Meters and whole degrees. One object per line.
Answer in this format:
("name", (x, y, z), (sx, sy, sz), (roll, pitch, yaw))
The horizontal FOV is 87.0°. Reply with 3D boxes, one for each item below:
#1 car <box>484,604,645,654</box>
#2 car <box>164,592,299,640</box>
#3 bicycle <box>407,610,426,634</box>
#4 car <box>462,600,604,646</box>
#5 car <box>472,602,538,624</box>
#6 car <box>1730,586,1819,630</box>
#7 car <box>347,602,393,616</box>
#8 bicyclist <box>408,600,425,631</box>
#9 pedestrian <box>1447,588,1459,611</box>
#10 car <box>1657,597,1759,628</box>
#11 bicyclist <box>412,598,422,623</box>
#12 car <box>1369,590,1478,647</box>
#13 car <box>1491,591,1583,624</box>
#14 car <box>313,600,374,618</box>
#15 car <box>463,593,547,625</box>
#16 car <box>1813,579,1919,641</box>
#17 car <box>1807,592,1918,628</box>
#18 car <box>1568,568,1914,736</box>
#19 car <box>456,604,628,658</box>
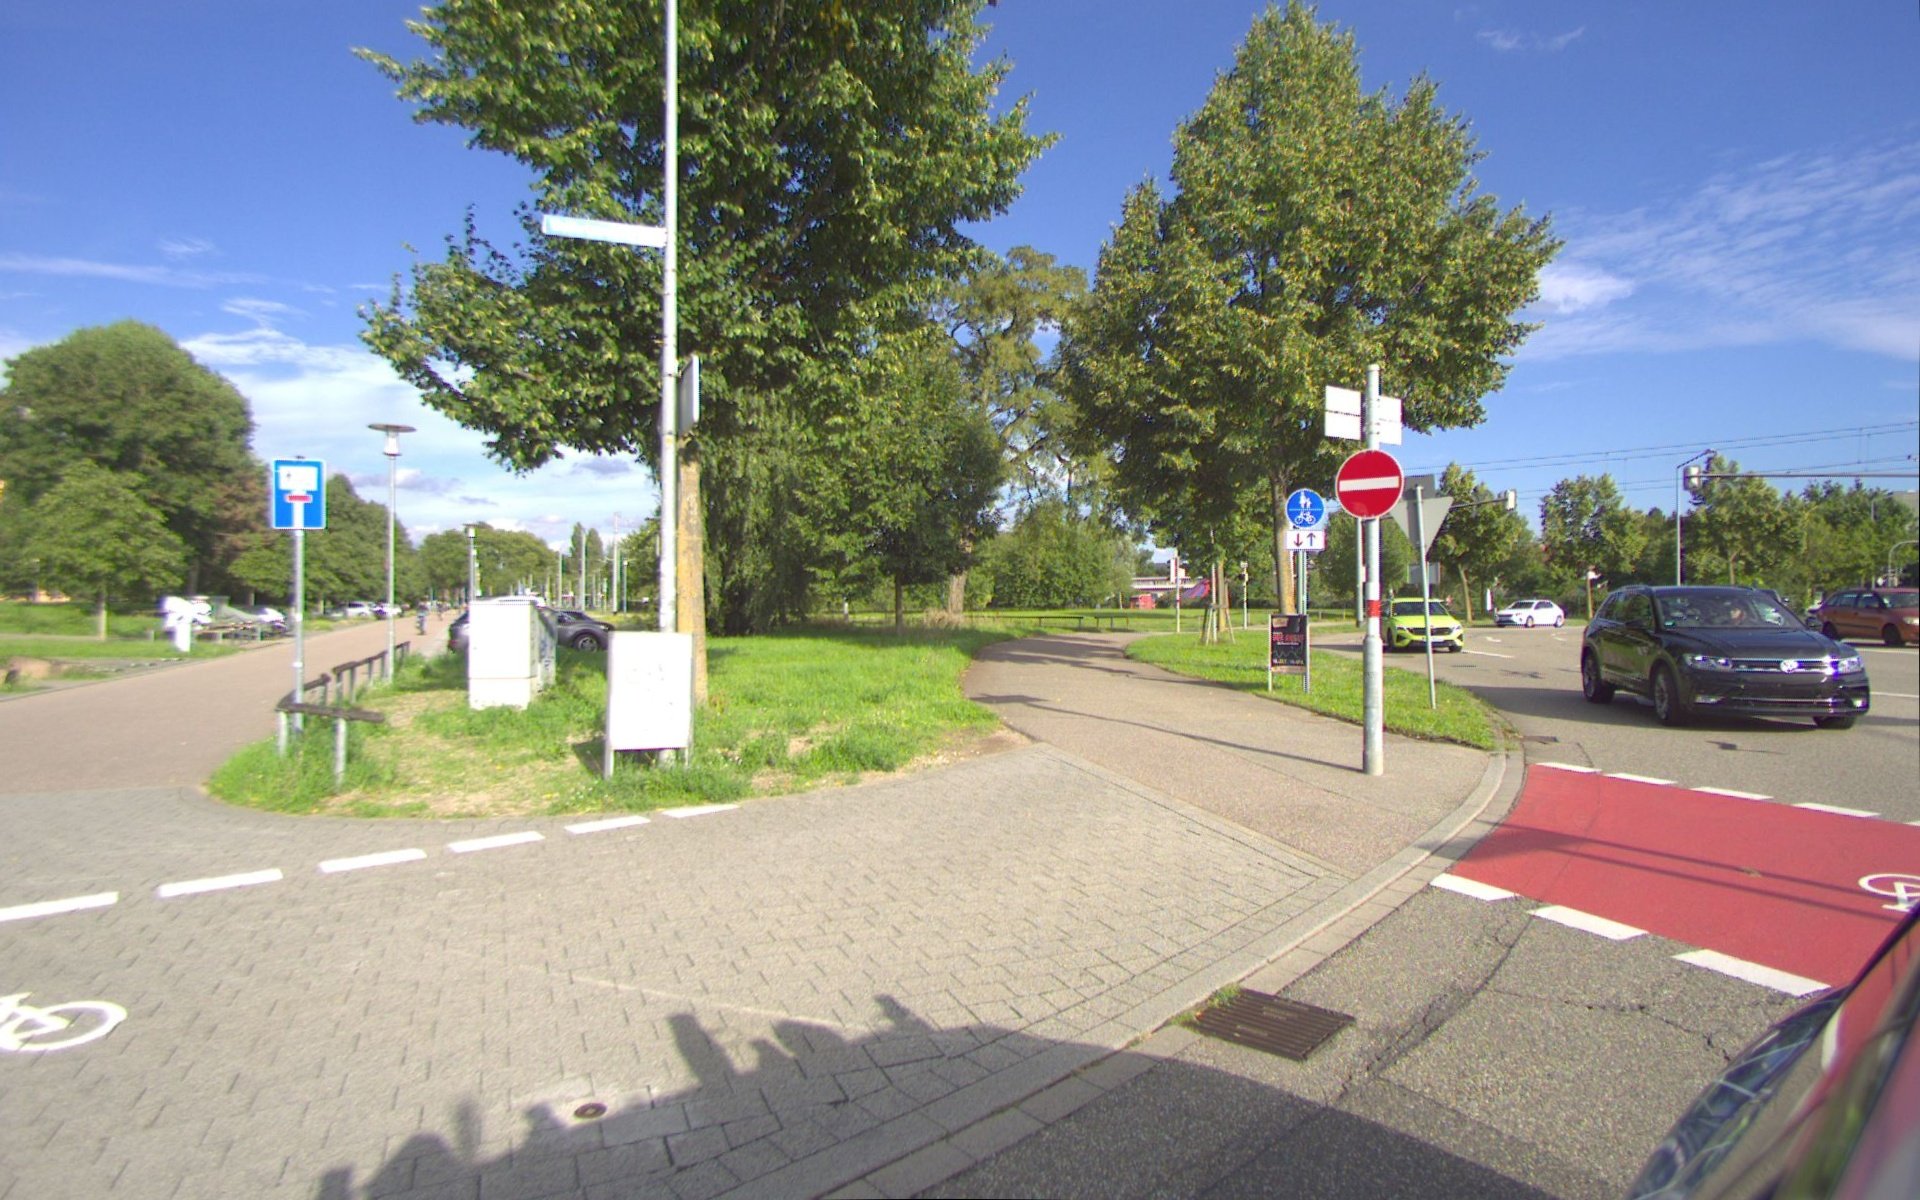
("car", (-12.543, 0.867, 32.185), (4.635, 1.458, 1.864), (0, 0, -24))
("car", (-33.262, 0.734, 46.375), (4.710, 2.040, 1.880), (-2, -2, -22))
("bicycle", (-28.530, 1.143, 53.139), (0.756, 1.151, 2.153), (-1, 1, -25))
("car", (-15.416, 0.779, 36.623), (4.635, 1.534, 1.864), (0, 0, -24))
("car", (-32.525, 0.909, 72.420), (4.025, 1.534, 2.041), (0, 0, -16))
("car", (28.683, 0.247, 35.607), (4.152, 1.493, 1.692), (0, 0, -40))
("car", (-59.040, 0.869, 101.338), (3.918, 1.352, 1.783), (0, 0, -26))
("bicyclist", (-28.529, 0.811, 53.131), (0.756, 1.594, 0.962), (-1, 0, -25))
("pedestrian", (38.964, -0.050, 79.998), (0.654, 1.754, 0.598), (0, 0, -27))
("car", (42.218, 0.696, 57.139), (4.703, 1.683, 2.004), (0, 0, -13))
("bicyclist", (-28.393, 0.550, 52.948), (0.443, 1.260, 0.852), (0, 0, -26))
("car", (12.822, 0.473, 28.281), (1.869, 1.438, 4.588), (-1, 0, 14))
("car", (30.294, 0.367, 53.130), (4.706, 1.683, 2.002), (0, 0, -28))
("car", (-48.501, 0.720, 79.707), (3.918, 1.352, 1.783), (0, 0, -26))
("car", (-30.293, 0.571, 67.606), (5.006, 2.033, 2.321), (0, 0, -21))
("car", (23.939, 0.228, 25.530), (1.667, 1.493, 4.216), (-1, 0, 9))
("car", (44.516, 0.491, 49.929), (4.702, 1.683, 2.004), (-1, 0, -19))
("car", (9.583, 0.525, 13.010), (1.847, 1.716, 4.987), (0, 0, 17))
("car", (-11.922, 0.843, 28.991), (4.421, 1.399, 1.864), (0, 0, -24))
